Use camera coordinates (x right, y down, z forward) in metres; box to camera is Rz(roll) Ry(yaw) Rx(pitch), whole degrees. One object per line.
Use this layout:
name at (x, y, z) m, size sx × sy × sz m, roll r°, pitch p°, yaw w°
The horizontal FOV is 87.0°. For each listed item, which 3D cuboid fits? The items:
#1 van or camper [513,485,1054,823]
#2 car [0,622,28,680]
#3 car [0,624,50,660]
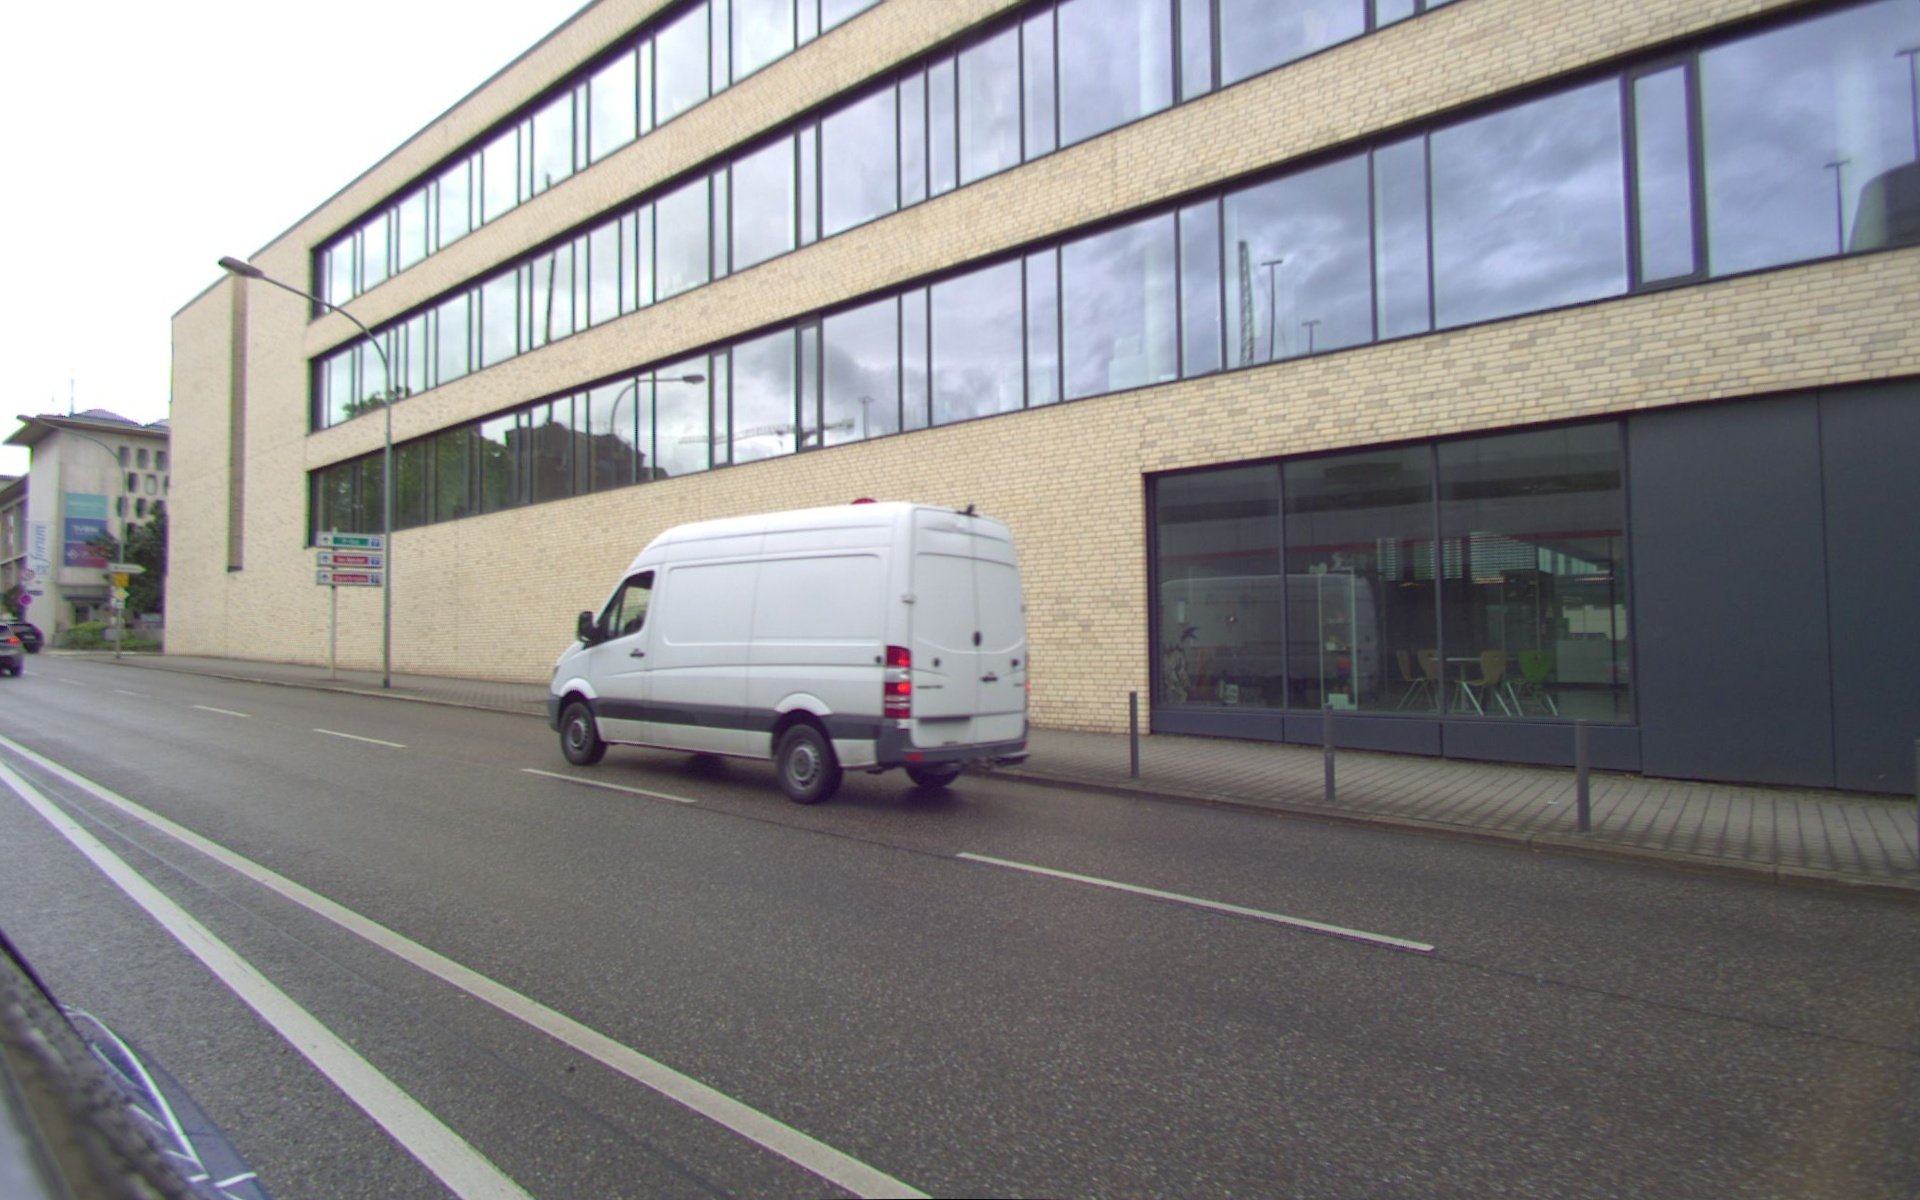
van or camper at (-2.084, 0.491, 10.466) m, size 5.901 × 2.602 × 2.081 m, roll -1°, pitch -4°, yaw 39°
car at (-26.400, 1.308, 26.968) m, size 3.878 × 1.481 × 1.724 m, roll -1°, pitch -4°, yaw 39°
car at (-46.304, 2.006, 48.248) m, size 3.934 × 1.674 × 1.866 m, roll 0°, pitch -1°, yaw -12°
